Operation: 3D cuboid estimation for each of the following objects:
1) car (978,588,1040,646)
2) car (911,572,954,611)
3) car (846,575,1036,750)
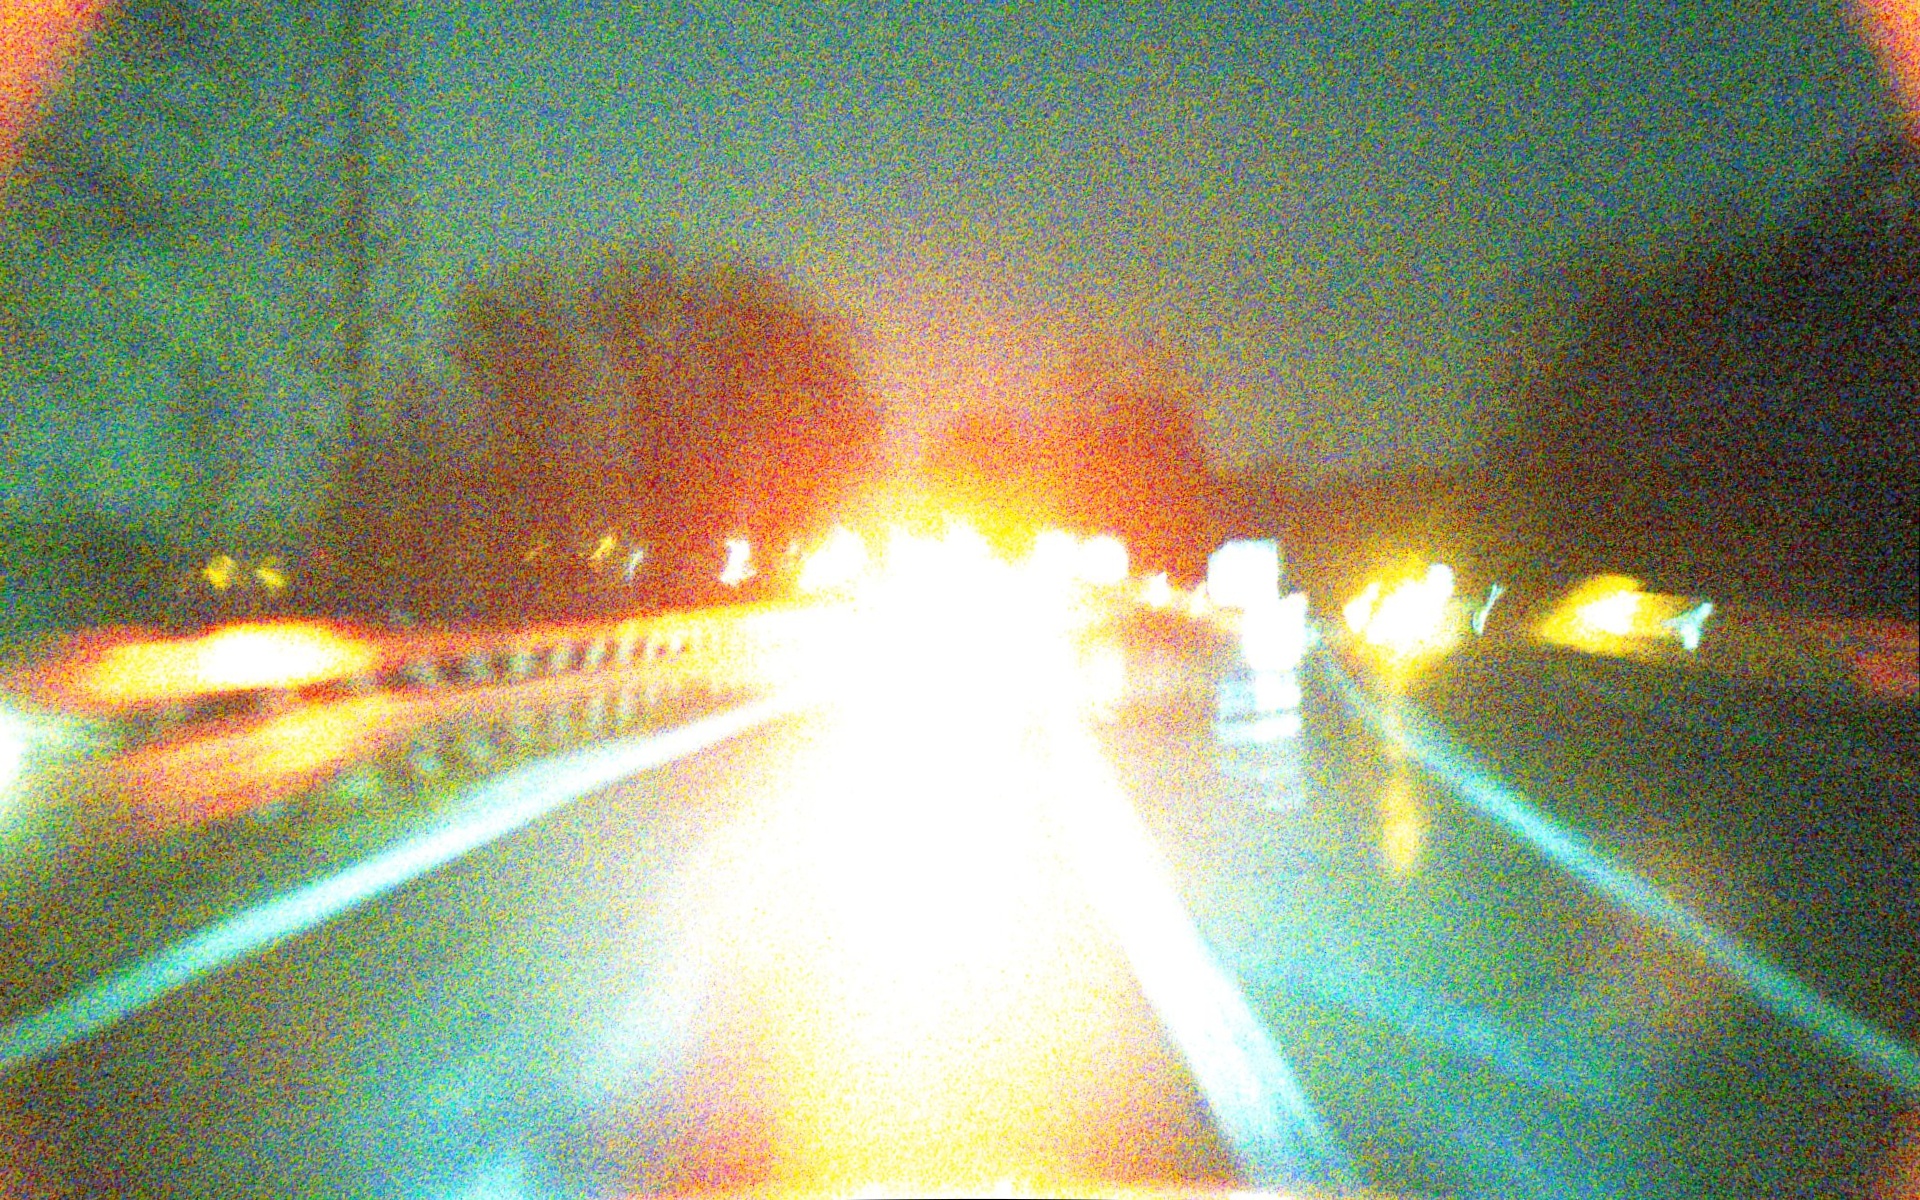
[{"bbox_3d":[1.530,0.541,51.557,1.856,1.751,4.046,0,-1,2],"label":"car"},{"bbox_3d":[-1.517,-0.422,89.529,1.860,2.033,4.037,0,-1,-9],"label":"car"},{"bbox_3d":[-0.204,0.611,18.051,1.822,1.676,4.068,1,0,-1],"label":"car"}]
